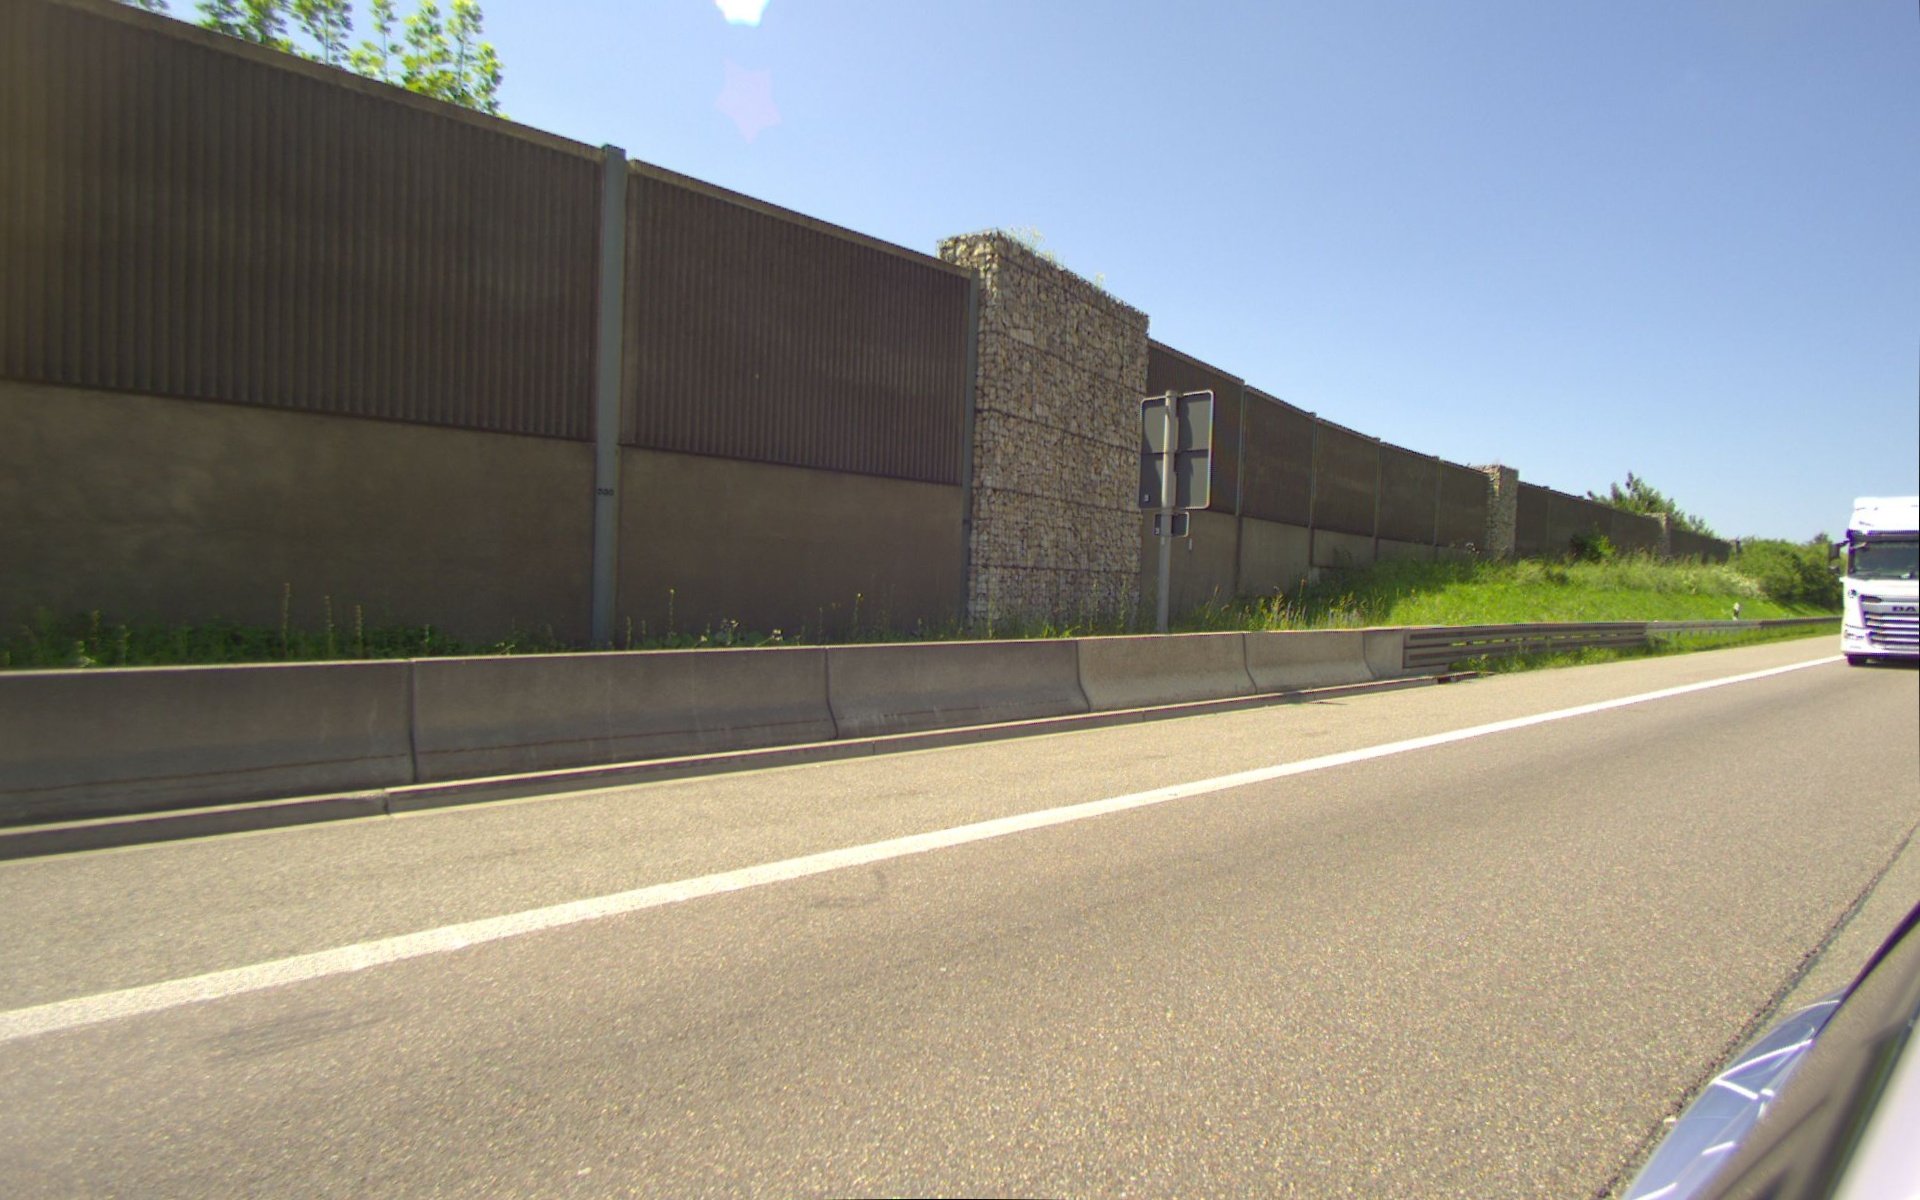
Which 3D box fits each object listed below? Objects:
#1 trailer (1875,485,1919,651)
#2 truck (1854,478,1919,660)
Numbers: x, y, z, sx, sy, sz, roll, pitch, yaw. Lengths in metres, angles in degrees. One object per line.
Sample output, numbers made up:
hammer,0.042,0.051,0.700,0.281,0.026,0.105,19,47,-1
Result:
trailer,28.515,-0.787,28.775,13.423,4.027,2.481,0,1,-43
truck,23.558,-0.686,24.296,6.273,4.027,2.481,0,1,-43
